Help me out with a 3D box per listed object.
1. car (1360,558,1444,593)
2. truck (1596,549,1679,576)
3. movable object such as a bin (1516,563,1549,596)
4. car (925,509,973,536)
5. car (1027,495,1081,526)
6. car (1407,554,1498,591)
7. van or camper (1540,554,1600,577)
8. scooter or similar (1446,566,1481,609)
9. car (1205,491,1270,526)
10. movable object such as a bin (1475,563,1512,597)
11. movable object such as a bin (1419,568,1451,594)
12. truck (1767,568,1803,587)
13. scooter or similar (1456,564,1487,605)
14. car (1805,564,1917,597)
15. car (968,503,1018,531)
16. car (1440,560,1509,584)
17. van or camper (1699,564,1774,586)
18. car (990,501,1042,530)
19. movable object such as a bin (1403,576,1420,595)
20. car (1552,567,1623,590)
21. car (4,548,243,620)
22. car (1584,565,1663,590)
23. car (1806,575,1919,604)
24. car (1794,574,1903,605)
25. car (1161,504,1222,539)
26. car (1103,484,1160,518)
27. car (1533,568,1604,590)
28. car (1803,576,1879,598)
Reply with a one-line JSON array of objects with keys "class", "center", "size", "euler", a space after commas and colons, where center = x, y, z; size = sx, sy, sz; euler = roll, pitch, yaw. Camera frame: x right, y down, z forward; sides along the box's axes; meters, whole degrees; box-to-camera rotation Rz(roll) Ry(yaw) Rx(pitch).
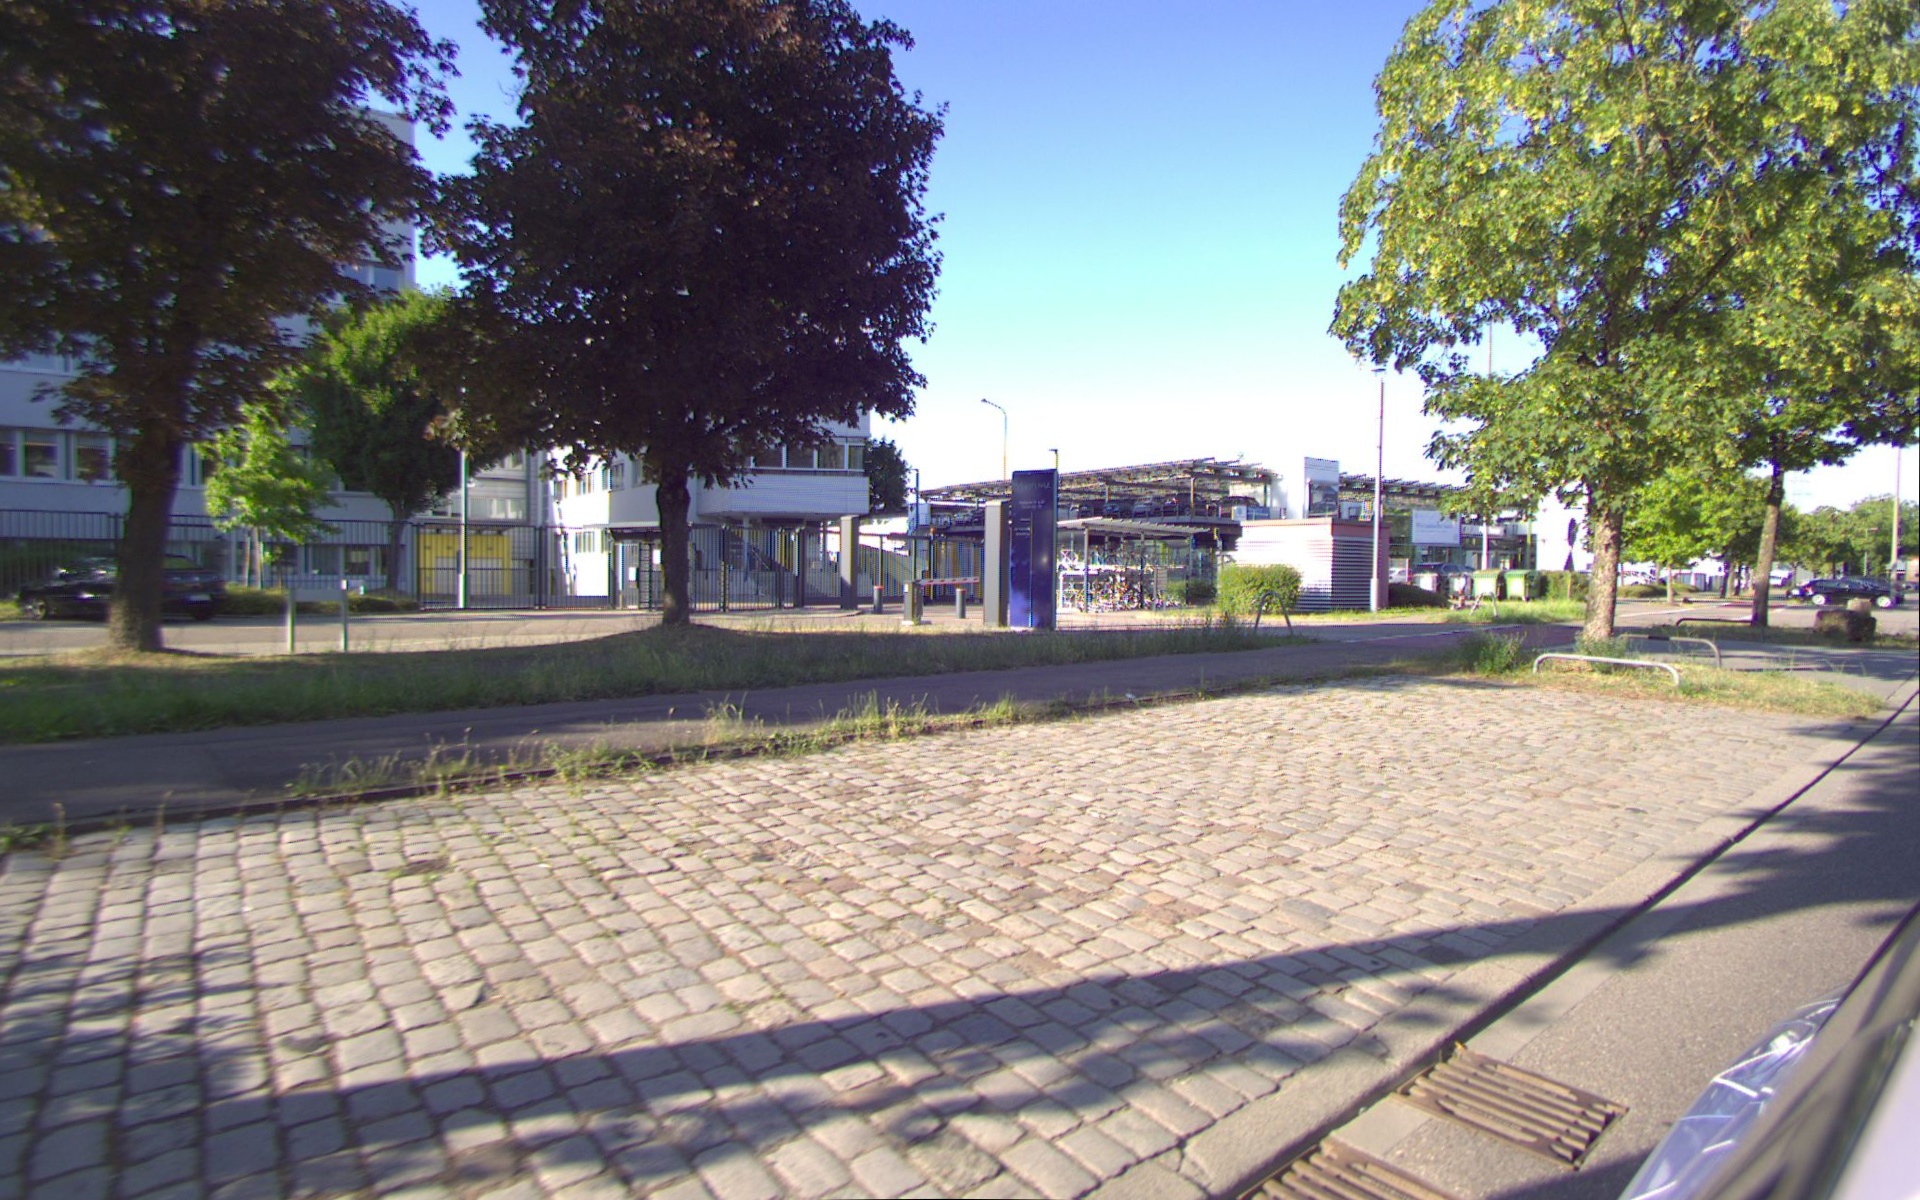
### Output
[{"class": "car", "center": [24.015, -1.328, 54.987], "size": [4.472, 1.850, 2.039], "euler": [0, 2, -33]}, {"class": "truck", "center": [96.627, -5.399, 144.634], "size": [3.226, 3.689, 10.144], "euler": [1, 2, -14]}, {"class": "movable object such as a bin", "center": [25.678, -0.920, 45.391], "size": [1.016, 1.434, 0.850], "euler": [0, 0, -17]}, {"class": "car", "center": [-1.028, -7.202, 94.448], "size": [4.124, 2.128, 1.998], "euler": [0, -1, -38]}, {"class": "car", "center": [7.706, -7.294, 82.775], "size": [4.124, 2.128, 1.998], "euler": [0, -1, -38]}, {"class": "car", "center": [25.841, -1.447, 53.035], "size": [4.880, 1.850, 2.039], "euler": [-1, 2, -33]}, {"class": "van or camper", "center": [94.140, -5.314, 156.379], "size": [2.364, 3.369, 8.157], "euler": [0, 2, -22]}, {"class": "scooter or similar", "center": [15.565, -0.399, 31.293], "size": [1.364, 1.288, 0.520], "euler": [-1, 2, -44]}, {"class": "car", "center": [20.103, -6.606, 73.396], "size": [1.963, 2.128, 4.199], "euler": [0, -1, -36]}, {"class": "movable object such as a bin", "center": [24.700, -0.930, 46.841], "size": [1.020, 1.502, 1.212], "euler": [0, 2, -42]}, {"class": "movable object such as a bin", "center": [23.184, -0.933, 49.398], "size": [1.020, 1.283, 1.119], "euler": [-1, 2, -42]}, {"class": "truck", "center": [124.046, -3.347, 152.161], "size": [5.855, 2.753, 2.549], "euler": [0, 2, -33]}, {"class": "scooter or similar", "center": [16.416, -0.494, 32.472], "size": [1.181, 1.288, 0.520], "euler": [-1, 2, -44]}, {"class": "car", "center": [52.122, -1.138, 58.607], "size": [2.156, 1.772, 4.699], "euler": [-1, 2, -44]}, {"class": "car", "center": [2.904, -7.244, 89.190], "size": [4.124, 2.128, 1.998], "euler": [0, -1, -38]}, {"class": "car", "center": [40.671, -2.246, 80.186], "size": [4.740, 1.795, 1.983], "euler": [2, 2, 25]}, {"class": "van or camper", "center": [108.391, -3.566, 141.433], "size": [2.880, 2.935, 8.031], "euler": [1, 2, -18]}, {"class": "car", "center": [4.815, -7.262, 87.003], "size": [4.124, 2.128, 1.998], "euler": [0, -1, -38]}, {"class": "movable object such as a bin", "center": [22.371, -0.735, 50.141], "size": [0.593, 0.932, 0.506], "euler": [0, 2, -39]}, {"class": "car", "center": [48.282, -1.688, 78.009], "size": [1.960, 1.590, 5.197], "euler": [1, 2, -4]}, {"class": "car", "center": [-17.390, -0.364, 21.108], "size": [3.938, 1.371, 1.801], "euler": [1, 2, 12]}, {"class": "car", "center": [52.922, -1.827, 80.820], "size": [4.661, 1.711, 2.401], "euler": [3, 3, 15]}, {"class": "car", "center": [48.257, -0.596, 54.214], "size": [4.478, 1.421, 2.004], "euler": [2, 2, 41]}, {"class": "car", "center": [49.509, -0.629, 56.449], "size": [4.480, 1.570, 2.002], "euler": [3, 2, 43]}, {"class": "car", "center": [16.234, -5.477, 70.951], "size": [4.124, 2.128, 1.998], "euler": [0, -1, -38]}, {"class": "car", "center": [12.831, -7.350, 75.661], "size": [4.124, 2.128, 1.998], "euler": [0, -1, -38]}, {"class": "car", "center": [43.658, -1.523, 72.738], "size": [1.960, 1.481, 4.795], "euler": [1, 2, -4]}, {"class": "car", "center": [73.240, -1.124, 84.250], "size": [4.583, 1.603, 1.973], "euler": [4, 3, 38]}]
